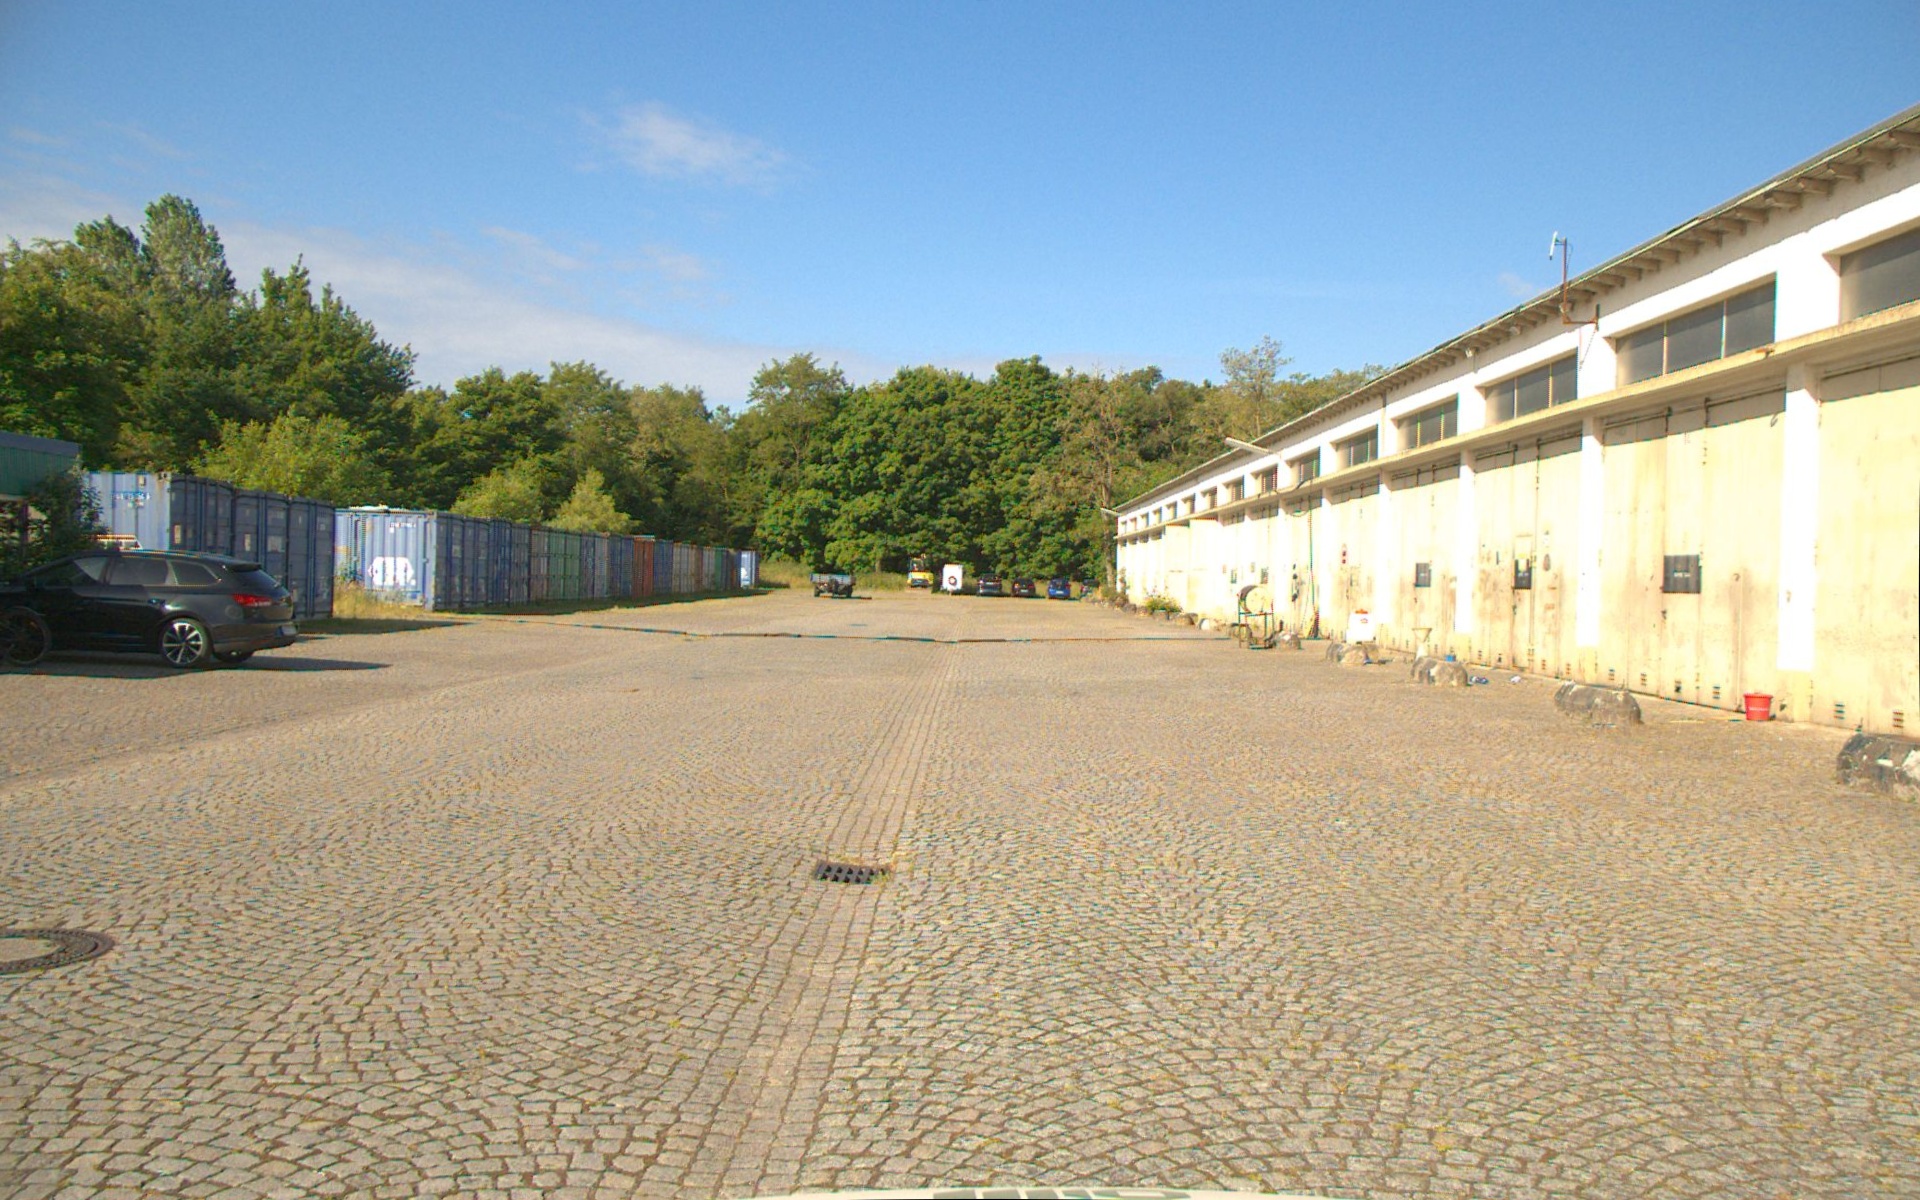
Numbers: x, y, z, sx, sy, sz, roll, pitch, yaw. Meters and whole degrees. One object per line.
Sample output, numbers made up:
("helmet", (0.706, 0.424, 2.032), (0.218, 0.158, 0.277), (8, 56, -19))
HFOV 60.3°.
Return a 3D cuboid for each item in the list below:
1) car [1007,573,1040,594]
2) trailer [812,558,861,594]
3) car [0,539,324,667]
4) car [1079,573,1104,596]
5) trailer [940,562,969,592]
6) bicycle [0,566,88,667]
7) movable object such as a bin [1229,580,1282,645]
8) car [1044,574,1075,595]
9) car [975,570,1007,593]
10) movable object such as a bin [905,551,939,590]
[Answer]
("car", (4.603, -1.190, 119.328), (1.951, 1.488, 4.003), (2, 1, 7))
("trailer", (-7.563, -1.477, 101.746), (2.357, 2.048, 4.175), (4, 1, 2))
("car", (-10.565, 0.018, 21.411), (3.971, 1.437, 1.730), (3, 0, -6))
("car", (9.610, -1.113, 120.662), (1.649, 1.591, 4.003), (2, 1, 7))
("trailer", (-0.402, -1.678, 120.850), (1.756, 2.126, 3.974), (1, 1, 4))
("bicycle", (-11.422, 0.171, 19.675), (1.673, 1.120, 0.674), (3, 1, 0))
("movable object such as a bin", (6.375, 0.262, 35.716), (0.807, 1.355, 1.279), (1, 1, -4))
("car", (7.181, -1.121, 119.318), (1.951, 1.445, 4.003), (2, 1, 7))
("car", (2.244, -1.322, 119.144), (1.822, 1.613, 4.003), (2, 1, 7))
("movable object such as a bin", (-2.737, -2.158, 121.133), (1.952, 2.663, 4.002), (3, 1, 4))
